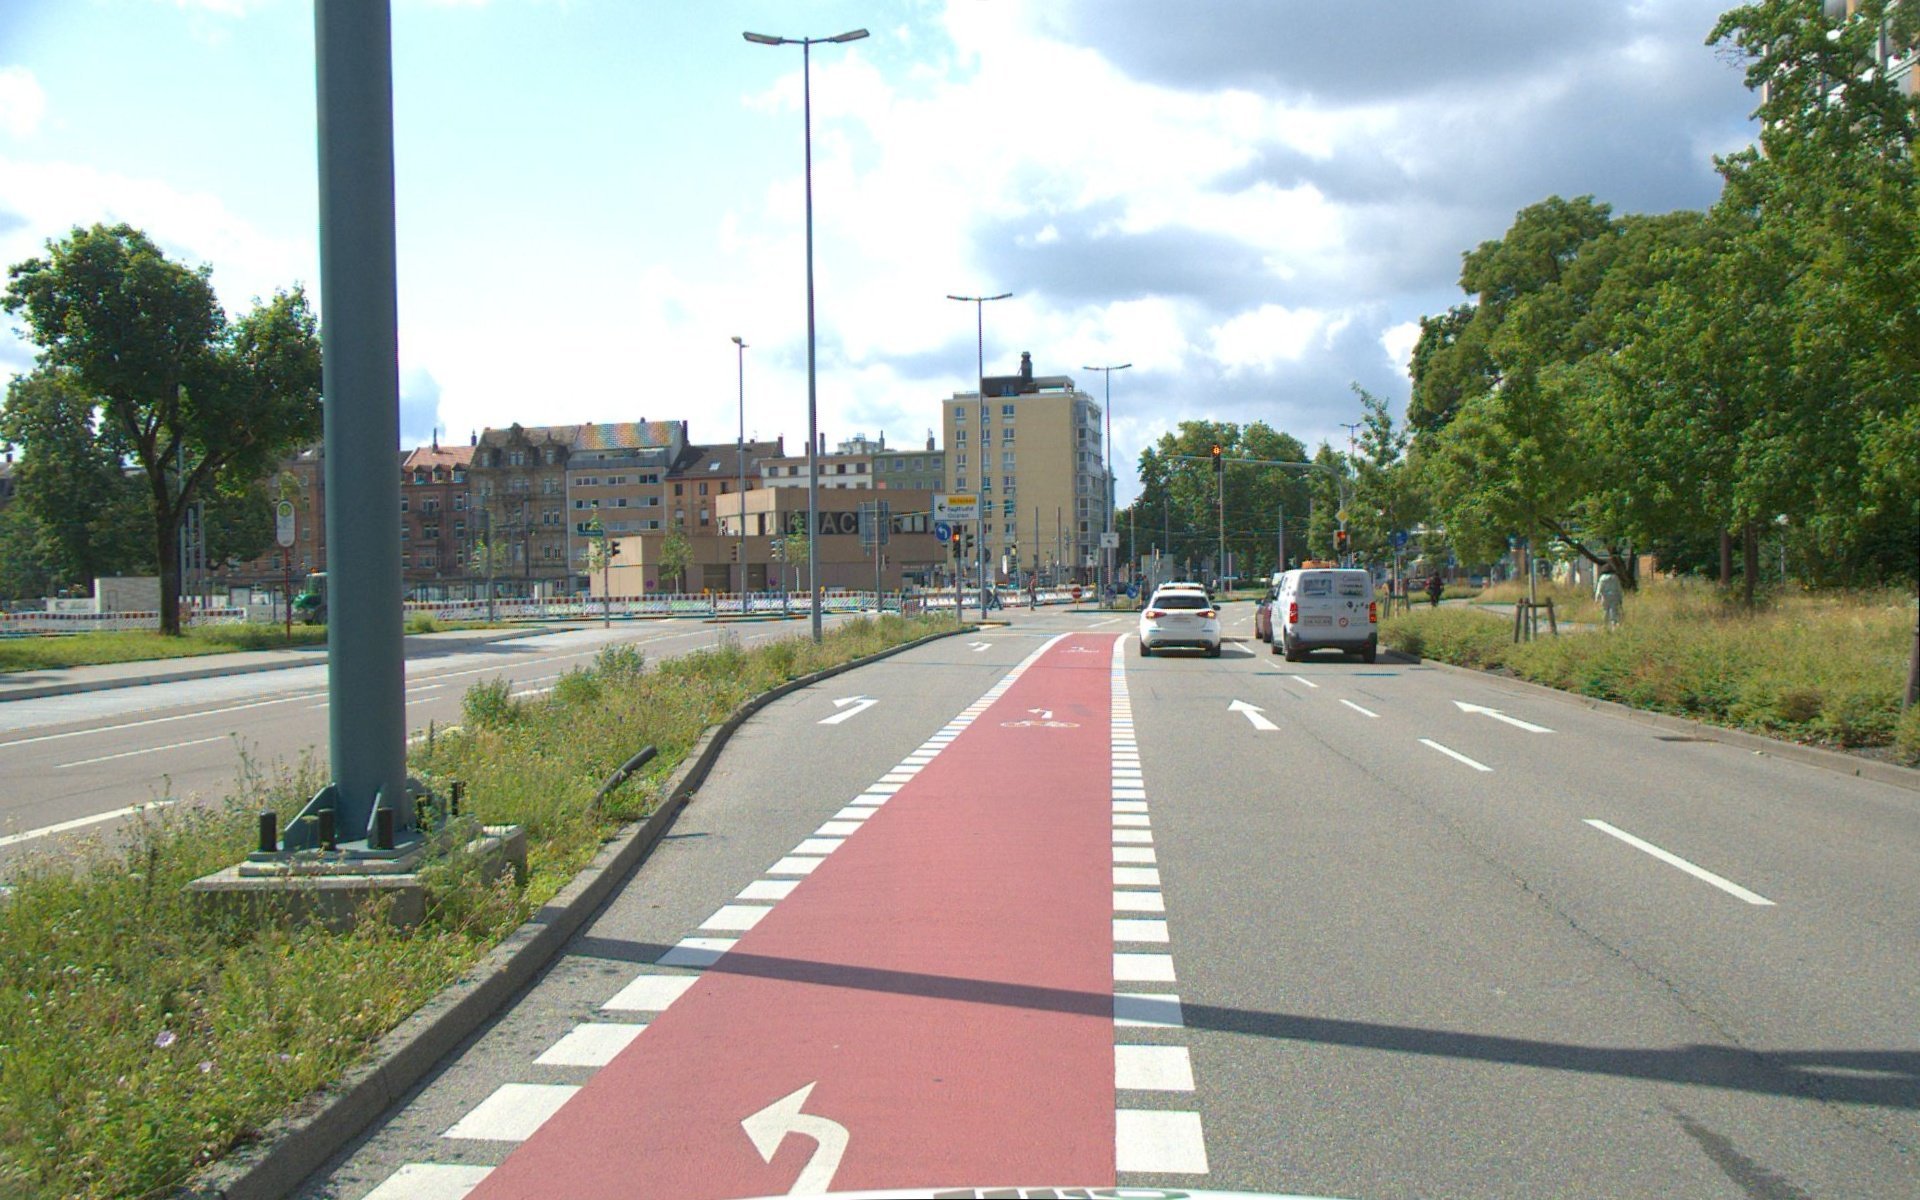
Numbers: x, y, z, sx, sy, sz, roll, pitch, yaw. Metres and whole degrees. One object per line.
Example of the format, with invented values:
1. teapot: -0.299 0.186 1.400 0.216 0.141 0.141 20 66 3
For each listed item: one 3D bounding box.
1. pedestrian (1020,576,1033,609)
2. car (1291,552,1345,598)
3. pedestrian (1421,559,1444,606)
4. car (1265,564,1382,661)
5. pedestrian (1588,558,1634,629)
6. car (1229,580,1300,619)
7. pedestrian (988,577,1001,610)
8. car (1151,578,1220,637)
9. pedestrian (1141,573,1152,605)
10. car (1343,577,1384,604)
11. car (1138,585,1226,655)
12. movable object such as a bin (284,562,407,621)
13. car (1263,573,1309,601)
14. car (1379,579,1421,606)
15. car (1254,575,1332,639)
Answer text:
1. pedestrian: 3.536 -0.391 87.552 0.513 1.763 0.624 -1 0 15
2. car: 23.095 -1.604 106.455 2.090 2.829 4.631 -2 0 29
3. pedestrian: 17.923 -0.676 62.732 0.726 1.766 0.679 -1 0 9
4. car: 7.752 0.216 35.648 1.901 1.902 4.829 -1 1 6
5. pedestrian: 15.659 -0.163 39.775 0.849 1.667 0.721 -1 0 7
6. car: 15.497 -0.022 83.960 1.961 1.847 3.983 2 0 37
7. pedestrian: 1.850 -0.373 89.053 0.513 1.763 0.624 -1 0 15
8. car: 6.249 0.180 46.104 1.753 1.566 4.014 1 1 6
9. pedestrian: 9.949 -0.576 88.235 0.513 1.713 0.624 -1 0 15
10. car: 31.445 -0.751 128.780 1.954 1.972 4.631 -2 0 29
11. car: 4.990 0.413 37.624 1.863 1.448 4.388 -1 1 6
12. movable object such as a bin: -31.684 -0.469 85.391 5.494 2.935 2.253 -1 0 -42
13. car: 24.277 -0.991 123.083 1.968 2.001 4.631 -2 0 29
14. car: 33.703 -0.565 126.609 1.954 1.972 4.631 -2 0 29
15. car: 9.171 0.150 45.762 1.645 1.670 4.466 -1 1 5
